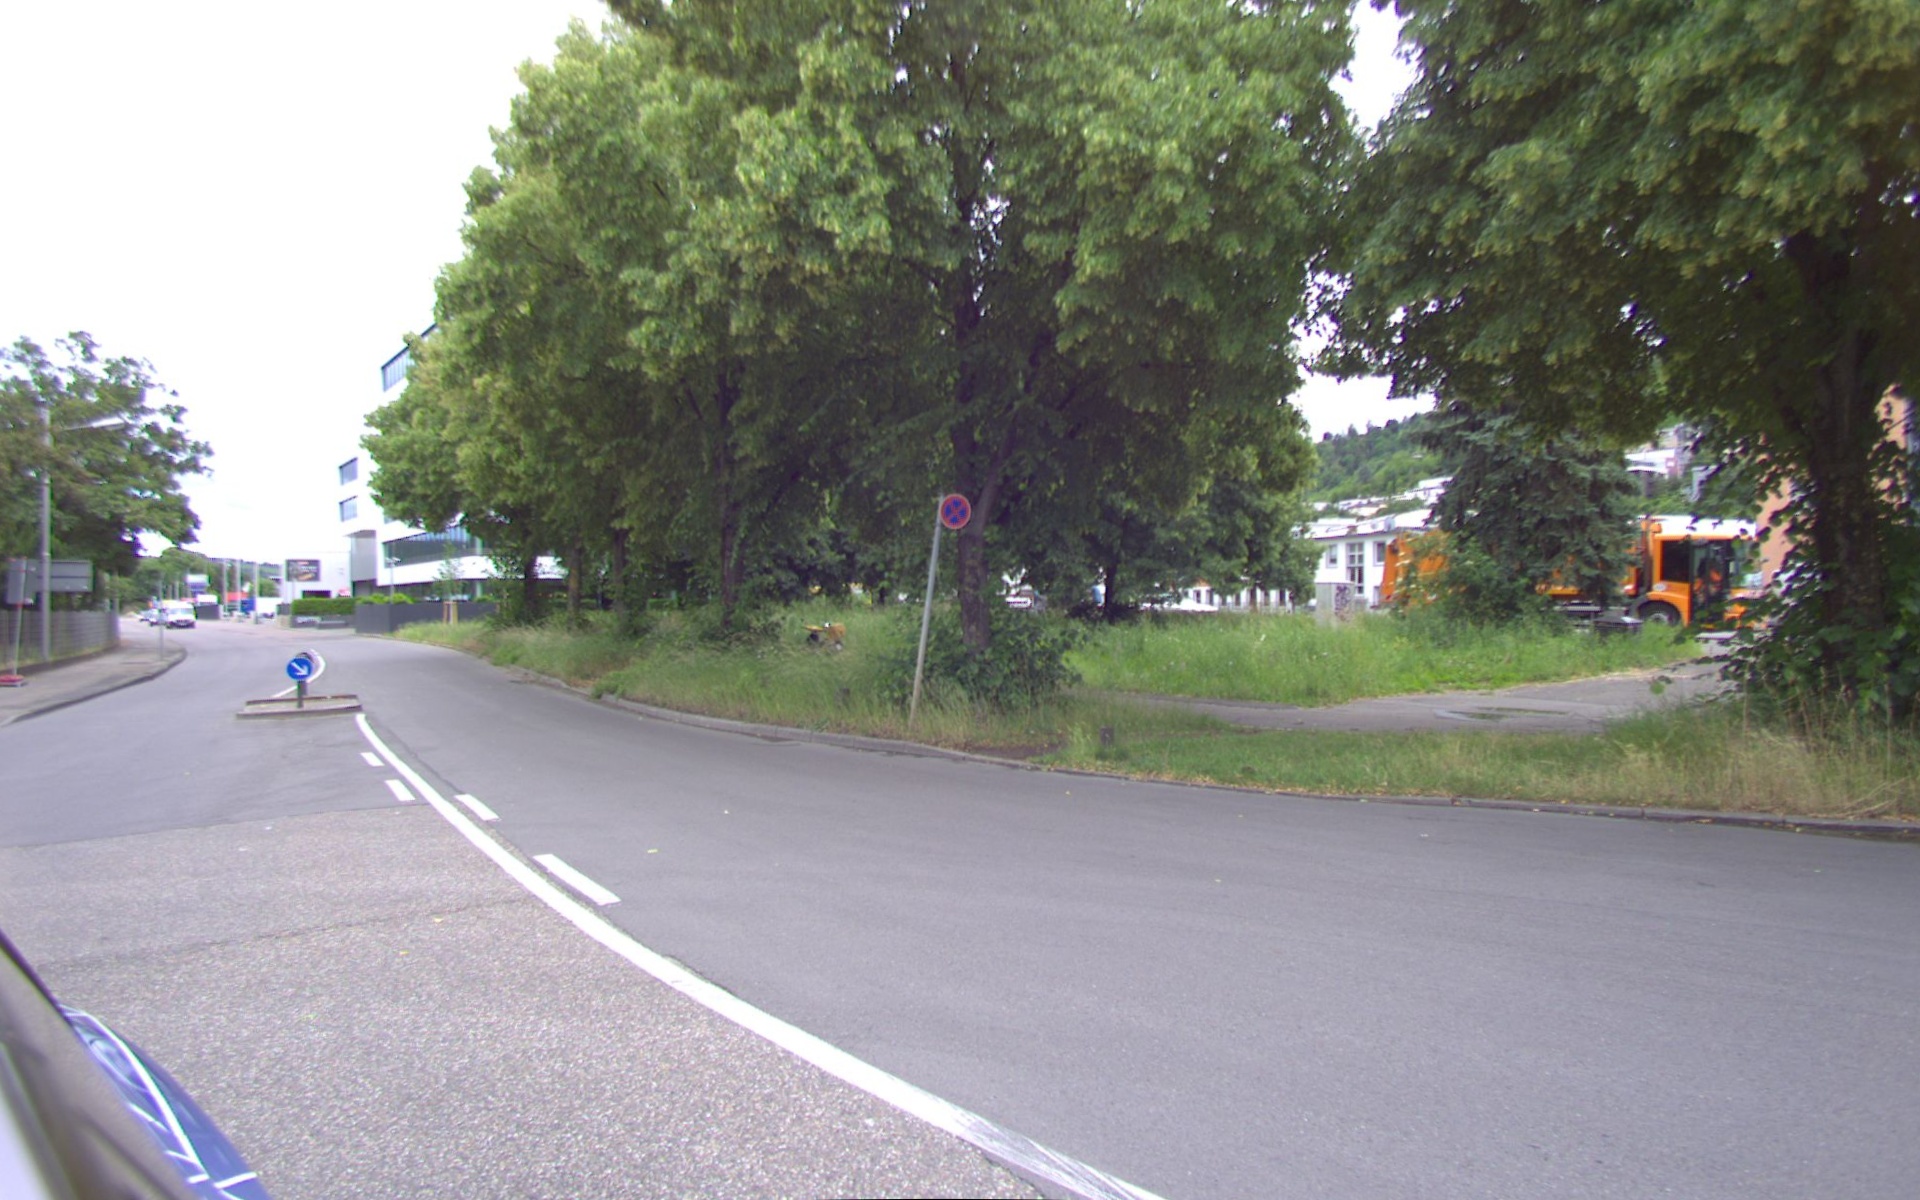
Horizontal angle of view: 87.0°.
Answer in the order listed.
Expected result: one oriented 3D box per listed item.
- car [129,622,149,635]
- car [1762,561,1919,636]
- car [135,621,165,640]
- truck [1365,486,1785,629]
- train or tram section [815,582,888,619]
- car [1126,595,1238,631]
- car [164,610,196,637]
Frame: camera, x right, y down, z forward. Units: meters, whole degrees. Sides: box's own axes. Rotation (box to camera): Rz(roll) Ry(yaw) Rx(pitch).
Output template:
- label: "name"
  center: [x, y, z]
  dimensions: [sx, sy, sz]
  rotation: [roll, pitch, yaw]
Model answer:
- label: "car"
  center: [-128.020, 4.415, 157.825]
  dimensions: [2.351, 1.884, 5.217]
  rotation: [-1, 0, -38]
- label: "car"
  center: [26.211, -0.047, 28.528]
  dimensions: [1.941, 2.029, 5.311]
  rotation: [-1, 0, -38]
- label: "car"
  center: [-86.132, 3.187, 107.672]
  dimensions: [2.351, 1.884, 5.217]
  rotation: [-1, 0, -38]
- label: "truck"
  center: [17.669, -1.130, 30.203]
  dimensions: [2.753, 3.553, 10.444]
  rotation: [-1, 1, -38]
- label: "train or tram section"
  center: [-12.178, 0.157, 110.598]
  dimensions: [3.221, 3.693, 19.236]
  rotation: [-1, 0, -20]
- label: "car"
  center: [9.971, 0.592, 45.810]
  dimensions: [1.775, 1.519, 4.907]
  rotation: [-1, -1, -38]
- label: "car"
  center: [-76.501, 2.297, 99.200]
  dimensions: [2.351, 2.477, 6.112]
  rotation: [-1, 0, -38]
